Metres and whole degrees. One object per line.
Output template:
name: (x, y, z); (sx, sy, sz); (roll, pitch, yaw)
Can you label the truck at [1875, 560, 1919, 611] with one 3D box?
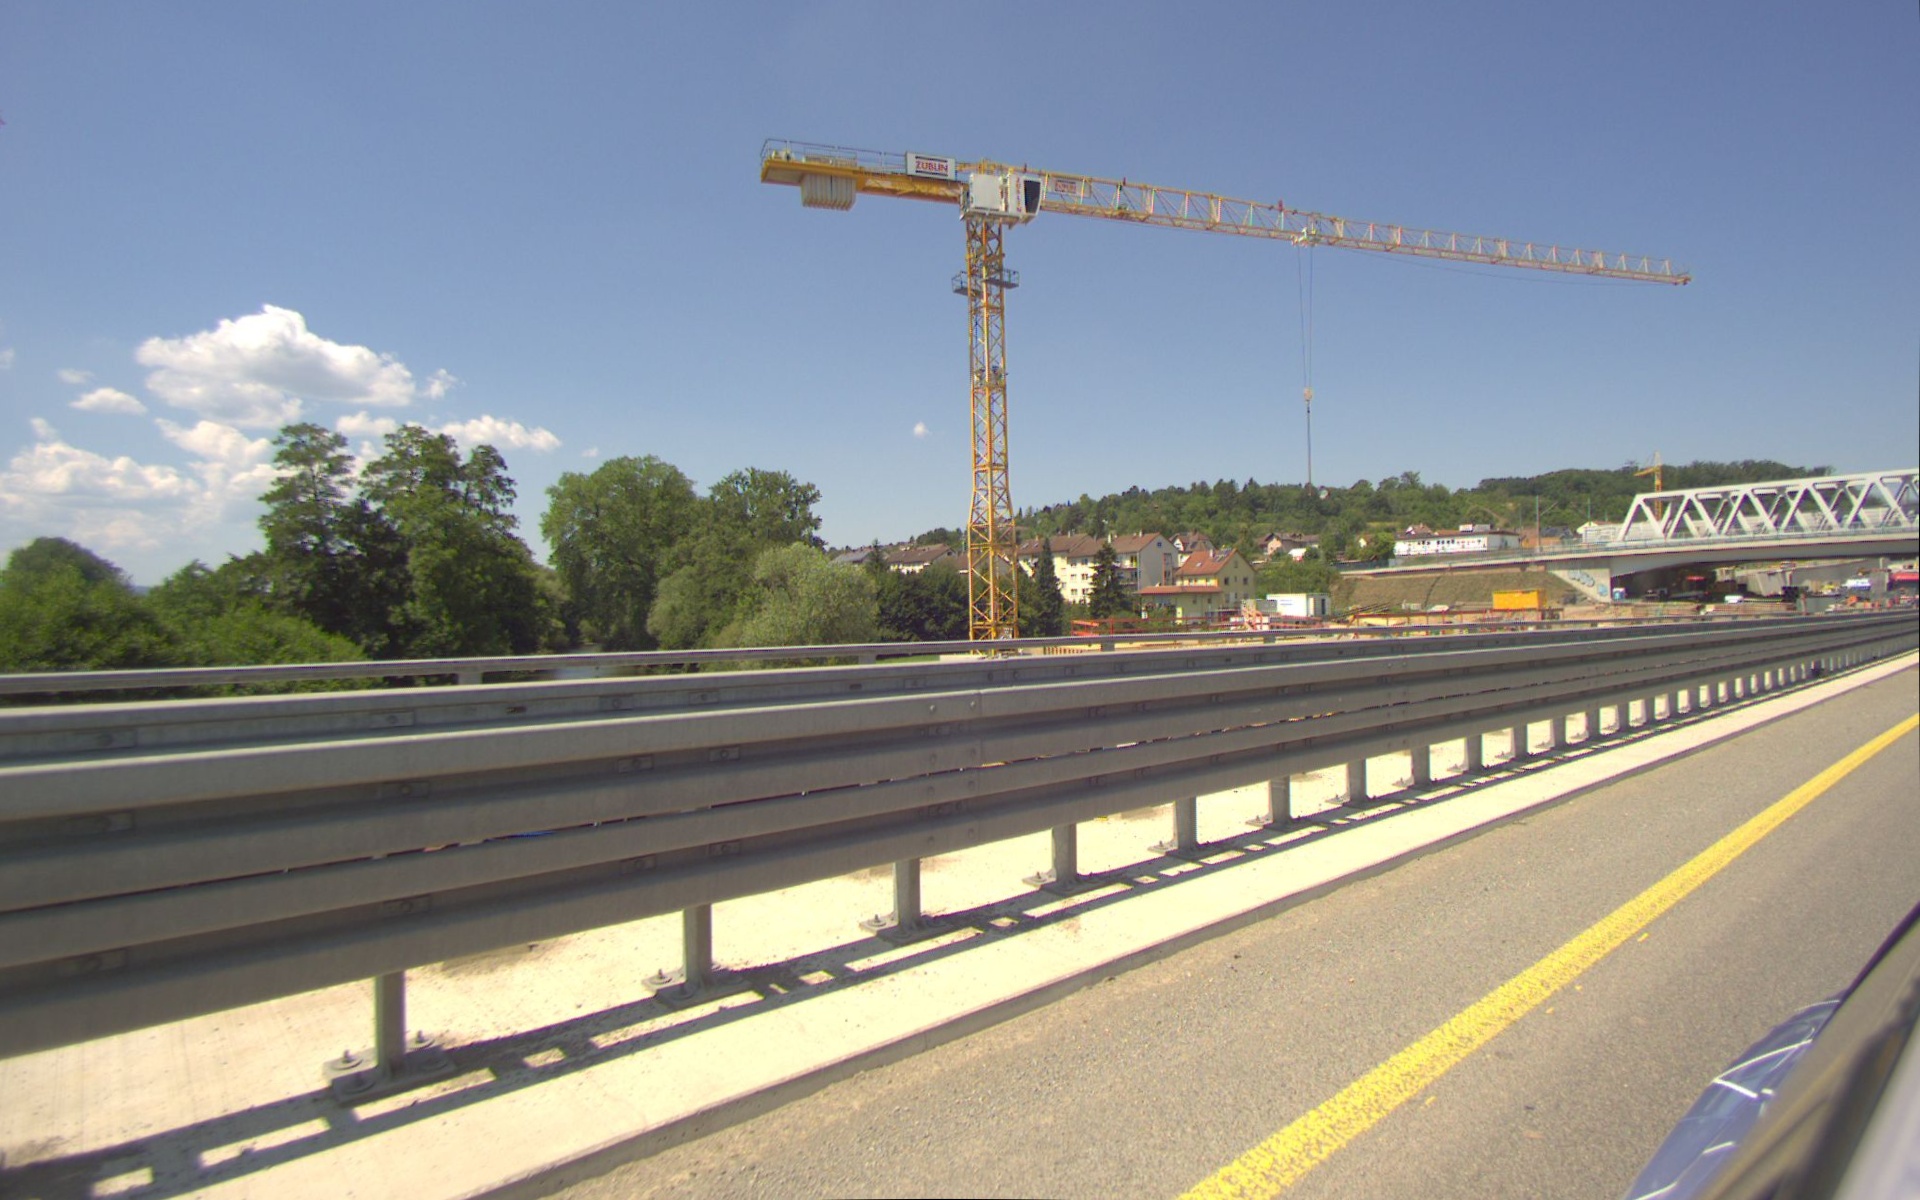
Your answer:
truck: (74.128, -1.146, 78.776); (2.682, 3.773, 8.417); (0, 1, 30)
